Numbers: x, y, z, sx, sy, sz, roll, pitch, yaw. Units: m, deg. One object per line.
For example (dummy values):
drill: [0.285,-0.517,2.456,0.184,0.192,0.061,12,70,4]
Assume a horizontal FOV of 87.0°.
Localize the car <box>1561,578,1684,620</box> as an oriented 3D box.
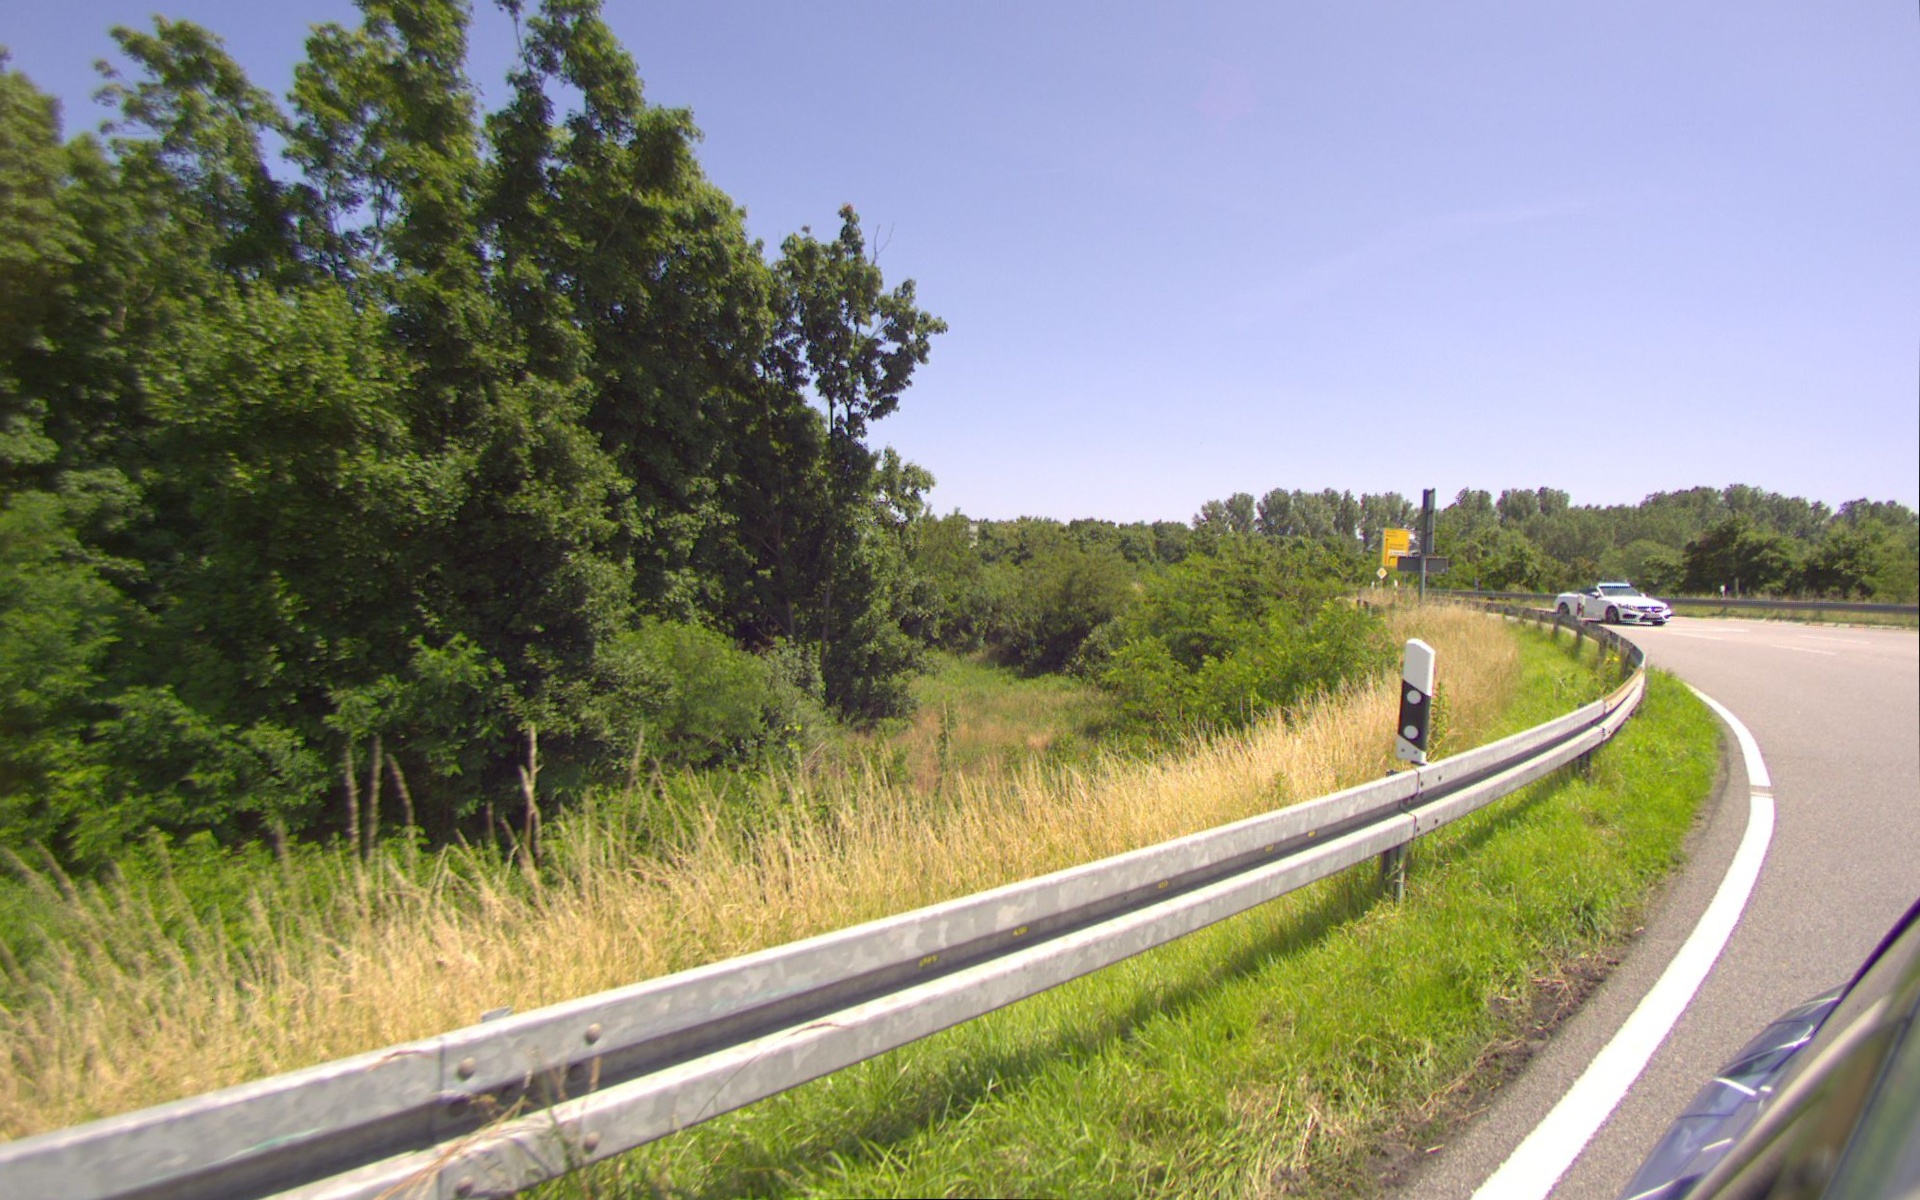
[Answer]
car: [23.886,-0.045,36.675,1.780,1.433,4.110,0,1,1]
